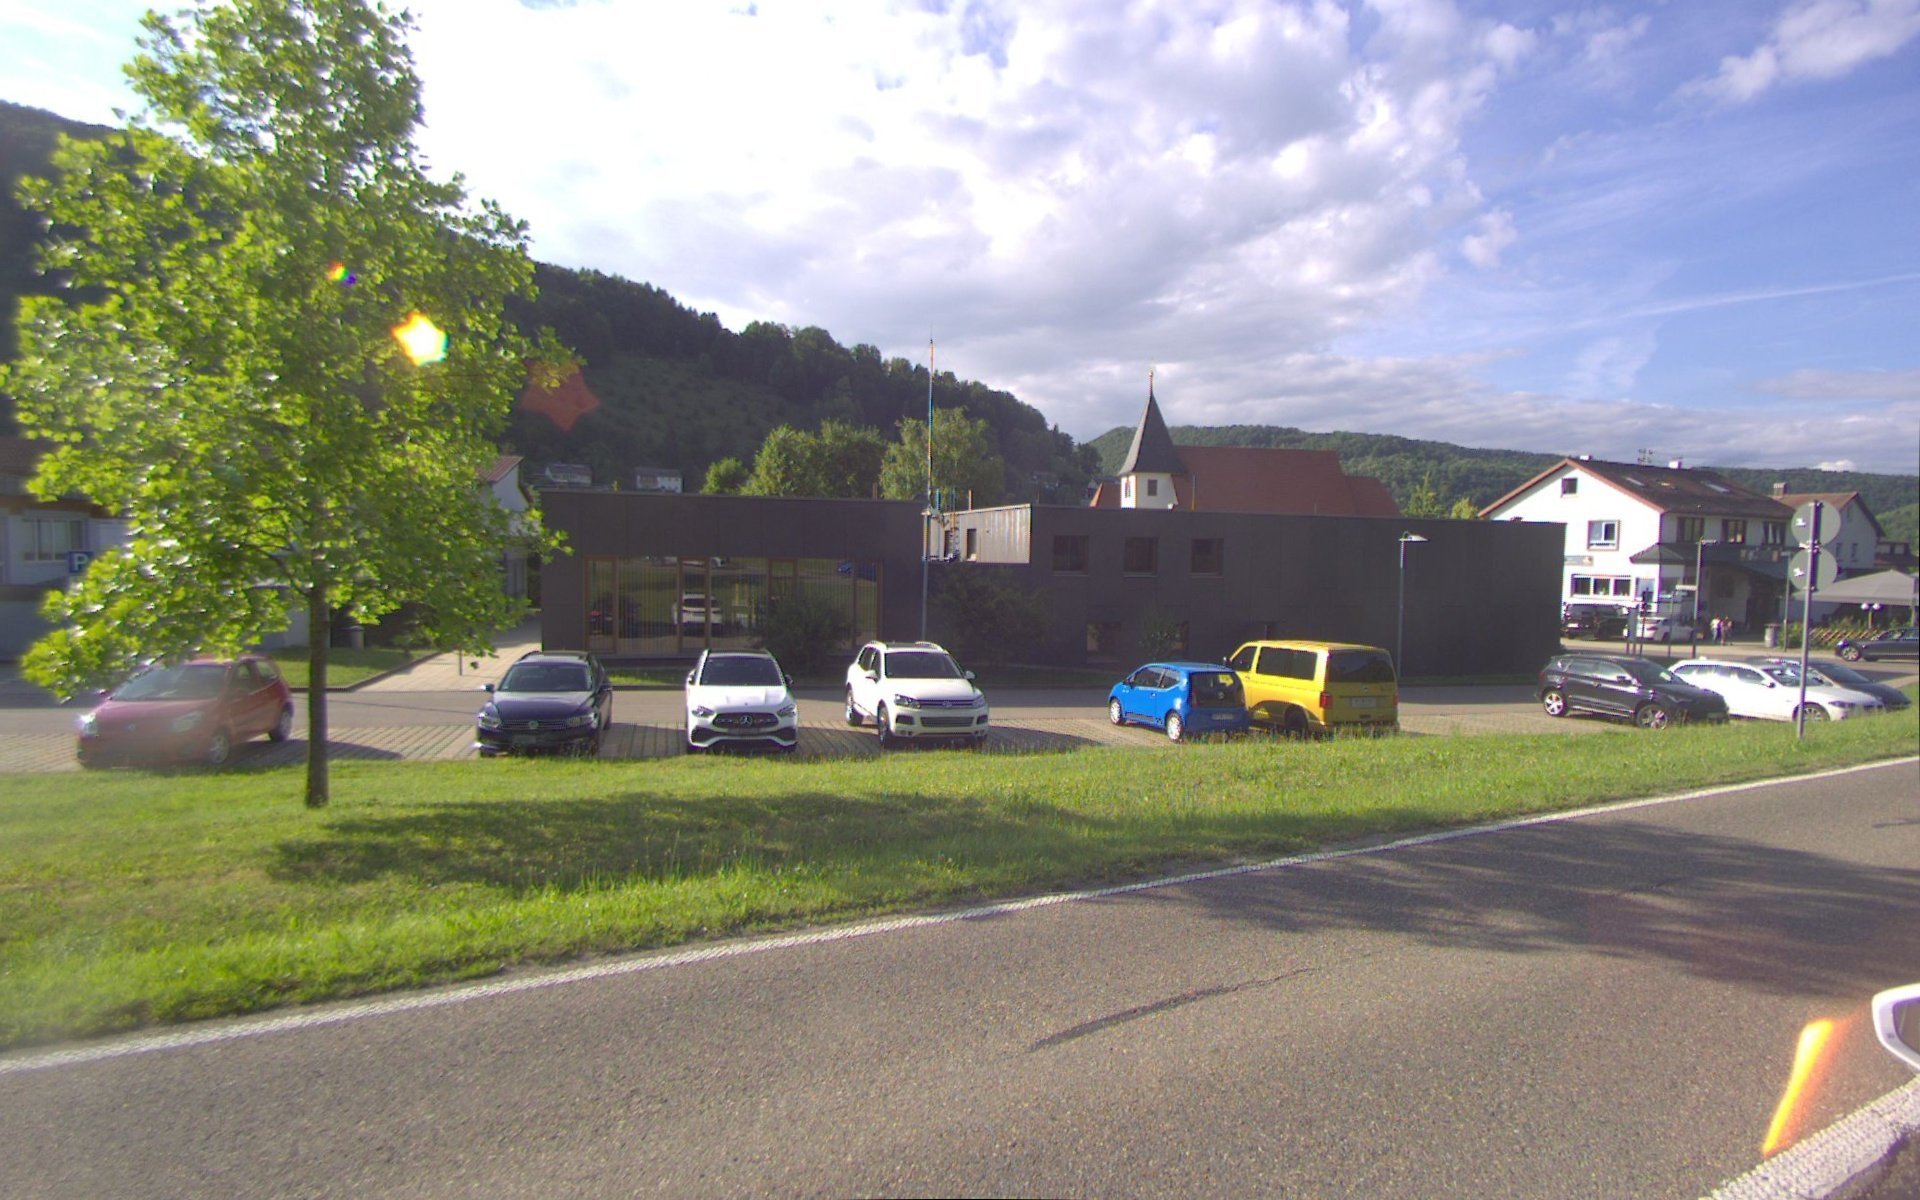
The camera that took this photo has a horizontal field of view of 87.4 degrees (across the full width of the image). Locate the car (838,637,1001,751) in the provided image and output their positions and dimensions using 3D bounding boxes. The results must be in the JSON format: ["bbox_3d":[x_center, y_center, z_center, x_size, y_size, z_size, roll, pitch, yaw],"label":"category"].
[{"bbox_3d":[-0.930,1.699,19.391,1.968,1.725,4.535,2,0,-18],"label":"car"}]

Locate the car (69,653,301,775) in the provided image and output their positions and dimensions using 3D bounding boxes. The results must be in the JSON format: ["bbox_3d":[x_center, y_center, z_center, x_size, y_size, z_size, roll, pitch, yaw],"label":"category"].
[{"bbox_3d":[-11.617,1.632,15.368,1.590,1.416,3.718,2,0,-18],"label":"car"}]

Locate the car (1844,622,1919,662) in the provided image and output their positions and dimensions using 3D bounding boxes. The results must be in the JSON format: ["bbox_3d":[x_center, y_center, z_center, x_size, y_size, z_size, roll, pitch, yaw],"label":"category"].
[{"bbox_3d":[37.142,1.659,38.954,1.885,1.461,3.993,2,0,-9],"label":"car"}]

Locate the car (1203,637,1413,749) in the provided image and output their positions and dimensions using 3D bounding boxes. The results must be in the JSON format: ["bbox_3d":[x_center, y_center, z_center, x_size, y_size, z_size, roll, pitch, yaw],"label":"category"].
[{"bbox_3d":[7.193,1.862,21.349,1.966,1.893,4.612,2,0,-14],"label":"car"}]

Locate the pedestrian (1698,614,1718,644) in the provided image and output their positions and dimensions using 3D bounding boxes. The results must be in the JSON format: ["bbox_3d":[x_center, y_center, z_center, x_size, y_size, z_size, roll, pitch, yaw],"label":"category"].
[{"bbox_3d":[38.870,1.523,52.179,0.583,1.523,0.605,2,0,-30],"label":"pedestrian"}]

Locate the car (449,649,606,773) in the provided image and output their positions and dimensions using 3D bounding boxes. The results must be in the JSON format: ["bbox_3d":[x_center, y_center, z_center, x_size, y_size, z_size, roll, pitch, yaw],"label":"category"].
[{"bbox_3d":[-7.208,1.762,17.191,1.968,1.575,4.535,2,0,-18],"label":"car"}]

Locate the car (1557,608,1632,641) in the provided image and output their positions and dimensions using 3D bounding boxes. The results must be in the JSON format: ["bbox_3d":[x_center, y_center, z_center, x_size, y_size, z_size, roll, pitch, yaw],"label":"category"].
[{"bbox_3d":[34.896,1.346,55.218,3.954,1.684,1.878,2,0,-31],"label":"car"}]

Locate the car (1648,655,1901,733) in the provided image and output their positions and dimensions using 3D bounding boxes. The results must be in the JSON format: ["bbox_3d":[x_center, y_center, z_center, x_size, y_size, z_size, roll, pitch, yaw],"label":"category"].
[{"bbox_3d":[20.672,2.334,25.803,1.851,1.513,4.810,2,0,-18],"label":"car"}]

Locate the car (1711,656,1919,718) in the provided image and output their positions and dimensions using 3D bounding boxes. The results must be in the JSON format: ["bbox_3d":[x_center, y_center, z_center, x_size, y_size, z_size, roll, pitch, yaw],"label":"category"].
[{"bbox_3d":[23.211,2.324,27.467,1.735,1.327,3.979,2,0,-22],"label":"car"}]

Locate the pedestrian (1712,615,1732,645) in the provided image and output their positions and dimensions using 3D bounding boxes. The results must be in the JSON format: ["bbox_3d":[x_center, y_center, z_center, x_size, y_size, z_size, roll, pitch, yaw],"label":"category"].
[{"bbox_3d":[39.161,1.532,51.594,0.583,1.523,0.605,2,0,-30],"label":"pedestrian"}]

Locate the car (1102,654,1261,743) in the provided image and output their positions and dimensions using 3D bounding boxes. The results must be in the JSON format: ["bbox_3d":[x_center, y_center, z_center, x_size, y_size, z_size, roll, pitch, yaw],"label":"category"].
[{"bbox_3d":[4.508,1.981,20.960,1.608,1.492,3.489,2,0,-20],"label":"car"}]

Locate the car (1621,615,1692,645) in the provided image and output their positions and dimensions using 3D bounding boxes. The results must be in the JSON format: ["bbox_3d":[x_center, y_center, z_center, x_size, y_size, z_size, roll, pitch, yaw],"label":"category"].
[{"bbox_3d":[36.820,1.571,53.065,3.954,1.469,1.548,2,0,-31],"label":"car"}]

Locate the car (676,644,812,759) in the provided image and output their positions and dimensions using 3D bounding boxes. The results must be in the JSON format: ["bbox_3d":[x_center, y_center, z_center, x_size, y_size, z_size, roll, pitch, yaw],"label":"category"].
[{"bbox_3d":[-4.054,1.726,18.280,1.968,1.575,4.535,2,0,-18],"label":"car"}]

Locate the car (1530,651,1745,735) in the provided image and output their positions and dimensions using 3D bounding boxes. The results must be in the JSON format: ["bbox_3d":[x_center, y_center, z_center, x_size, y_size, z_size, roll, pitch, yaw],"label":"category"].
[{"bbox_3d":[16.452,2.206,24.649,1.968,1.659,4.022,2,0,-18],"label":"car"}]
